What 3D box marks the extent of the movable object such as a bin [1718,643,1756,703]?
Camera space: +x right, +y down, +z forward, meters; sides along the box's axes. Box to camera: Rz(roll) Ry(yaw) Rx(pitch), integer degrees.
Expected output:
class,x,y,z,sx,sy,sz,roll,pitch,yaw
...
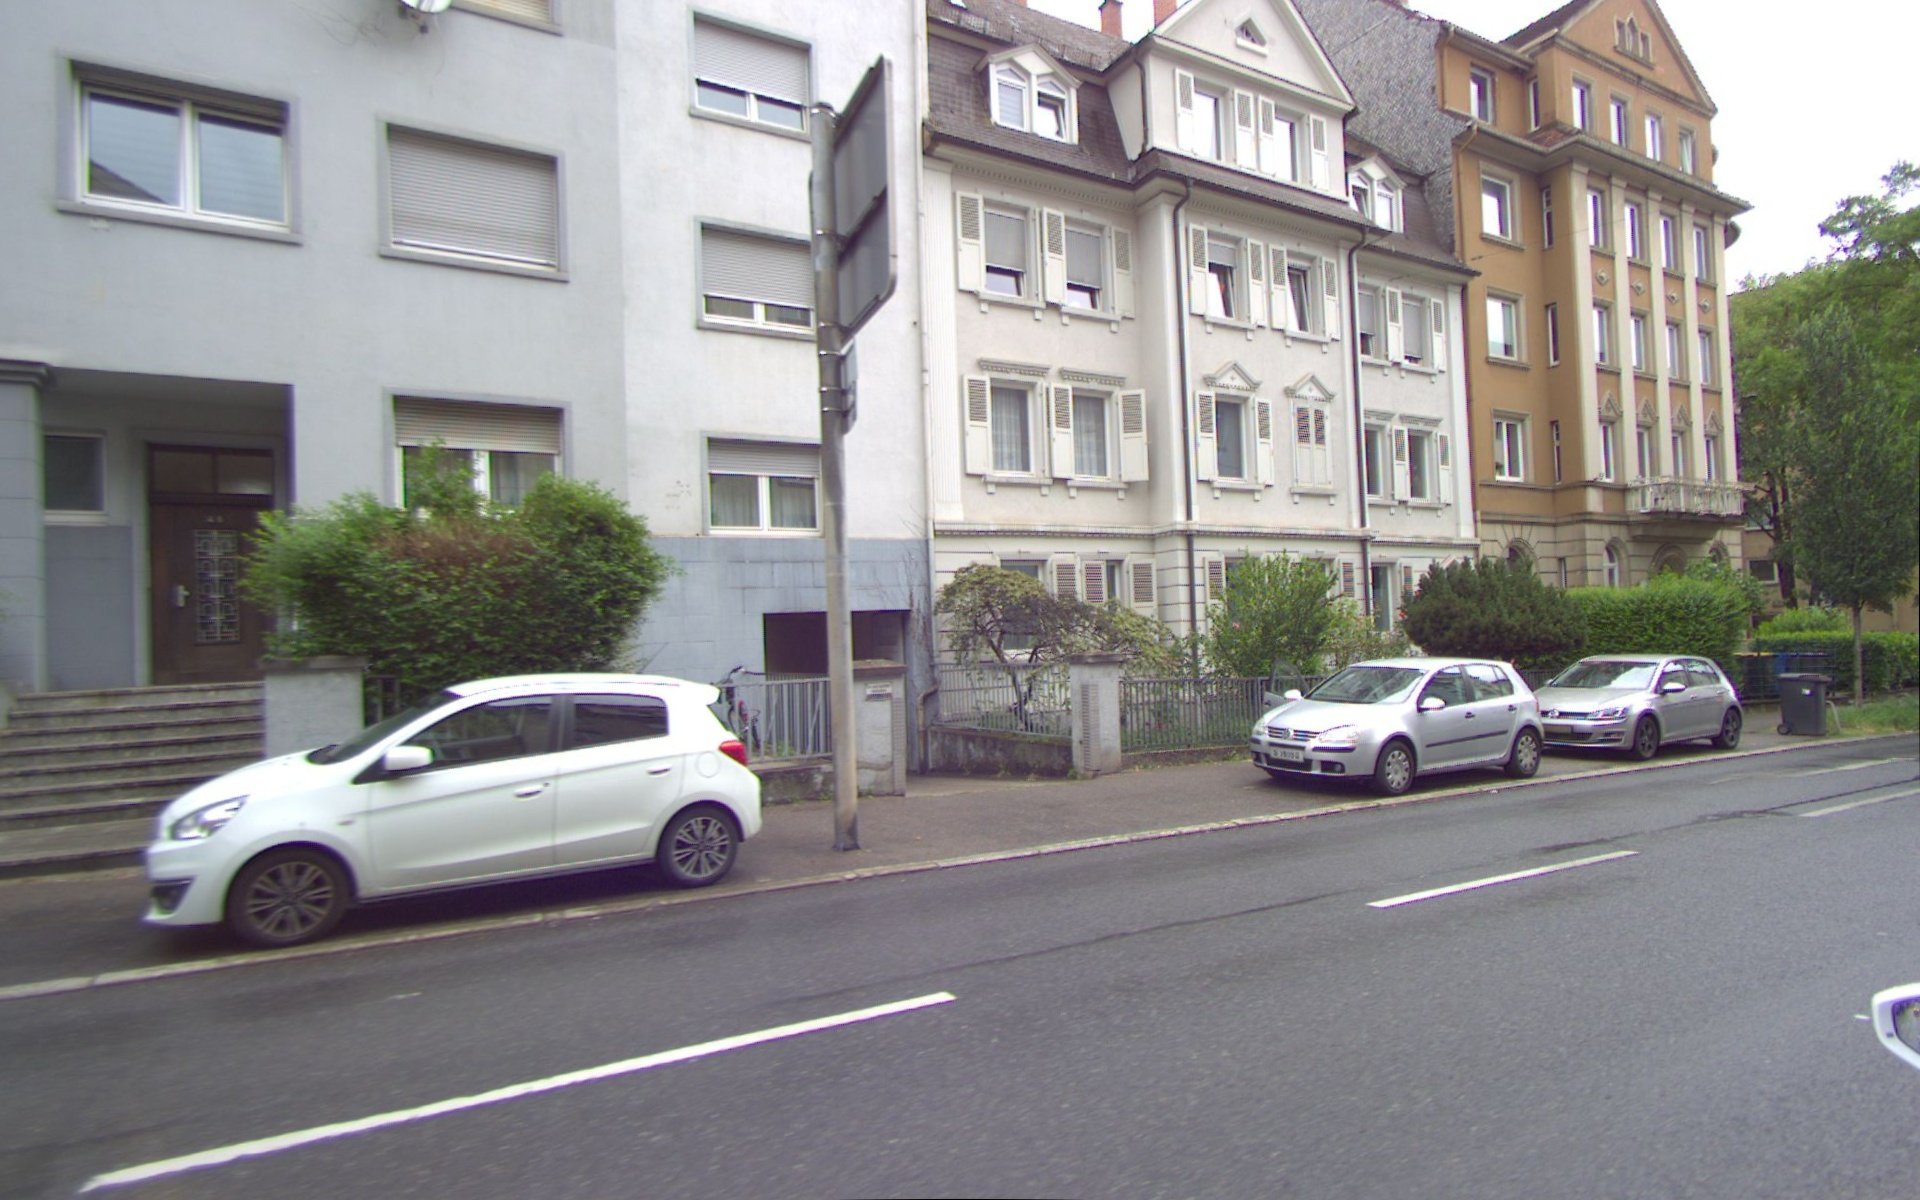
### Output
class,x,y,z,sx,sy,sz,roll,pitch,yaw
movable object such as a bin,17.620,1.644,22.778,0.642,1.316,0.437,1,-3,-31

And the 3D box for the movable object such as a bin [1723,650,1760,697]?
class,x,y,z,sx,sy,sz,roll,pitch,yaw
movable object such as a bin,17.830,1.672,22.922,0.642,1.053,0.437,1,-3,-31

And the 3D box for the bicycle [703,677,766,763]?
class,x,y,z,sx,sy,sz,roll,pitch,yaw
bicycle,-3.170,1.647,14.048,0.478,1.104,1.415,1,-3,-29

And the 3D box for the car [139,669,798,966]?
class,x,y,z,sx,sy,sz,roll,pitch,yaw
car,-3.213,1.277,7.090,3.755,1.527,1.637,2,-3,-32

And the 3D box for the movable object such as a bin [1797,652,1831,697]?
class,x,y,z,sx,sy,sz,roll,pitch,yaw
movable object such as a bin,21.103,1.834,24.820,0.583,1.095,0.437,1,-3,-31

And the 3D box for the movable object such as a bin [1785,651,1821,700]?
class,x,y,z,sx,sy,sz,roll,pitch,yaw
movable object such as a bin,20.546,1.835,24.484,0.650,1.145,0.437,1,-3,-31

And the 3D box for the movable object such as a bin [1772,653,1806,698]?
class,x,y,z,sx,sy,sz,roll,pitch,yaw
movable object such as a bin,19.946,1.802,24.168,0.643,1.054,0.424,1,-3,-31

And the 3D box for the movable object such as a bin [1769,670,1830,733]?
class,x,y,z,sx,sy,sz,roll,pitch,yaw
movable object such as a bin,14.761,1.767,17.669,0.593,1.071,0.627,2,-4,-30

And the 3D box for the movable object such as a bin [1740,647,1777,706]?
class,x,y,z,sx,sy,sz,roll,pitch,yaw
movable object such as a bin,18.551,1.766,23.337,0.642,1.325,0.437,1,-3,-31

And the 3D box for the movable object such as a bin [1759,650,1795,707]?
class,x,y,z,sx,sy,sz,roll,pitch,yaw
movable object such as a bin,19.317,1.850,23.755,0.602,1.325,0.437,1,-3,-31

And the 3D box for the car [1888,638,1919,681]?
class,x,y,z,sx,sy,sz,roll,pitch,yaw
car,33.647,1.955,33.319,1.720,1.408,3.802,-1,-3,-28

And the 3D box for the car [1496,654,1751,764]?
class,x,y,z,sx,sy,sz,roll,pitch,yaw
car,10.067,1.558,15.193,3.889,1.408,1.675,1,-2,-30

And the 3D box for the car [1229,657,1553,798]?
class,x,y,z,sx,sy,sz,roll,pitch,yaw
car,5.302,1.437,12.277,3.863,1.408,1.675,1,-2,-30
